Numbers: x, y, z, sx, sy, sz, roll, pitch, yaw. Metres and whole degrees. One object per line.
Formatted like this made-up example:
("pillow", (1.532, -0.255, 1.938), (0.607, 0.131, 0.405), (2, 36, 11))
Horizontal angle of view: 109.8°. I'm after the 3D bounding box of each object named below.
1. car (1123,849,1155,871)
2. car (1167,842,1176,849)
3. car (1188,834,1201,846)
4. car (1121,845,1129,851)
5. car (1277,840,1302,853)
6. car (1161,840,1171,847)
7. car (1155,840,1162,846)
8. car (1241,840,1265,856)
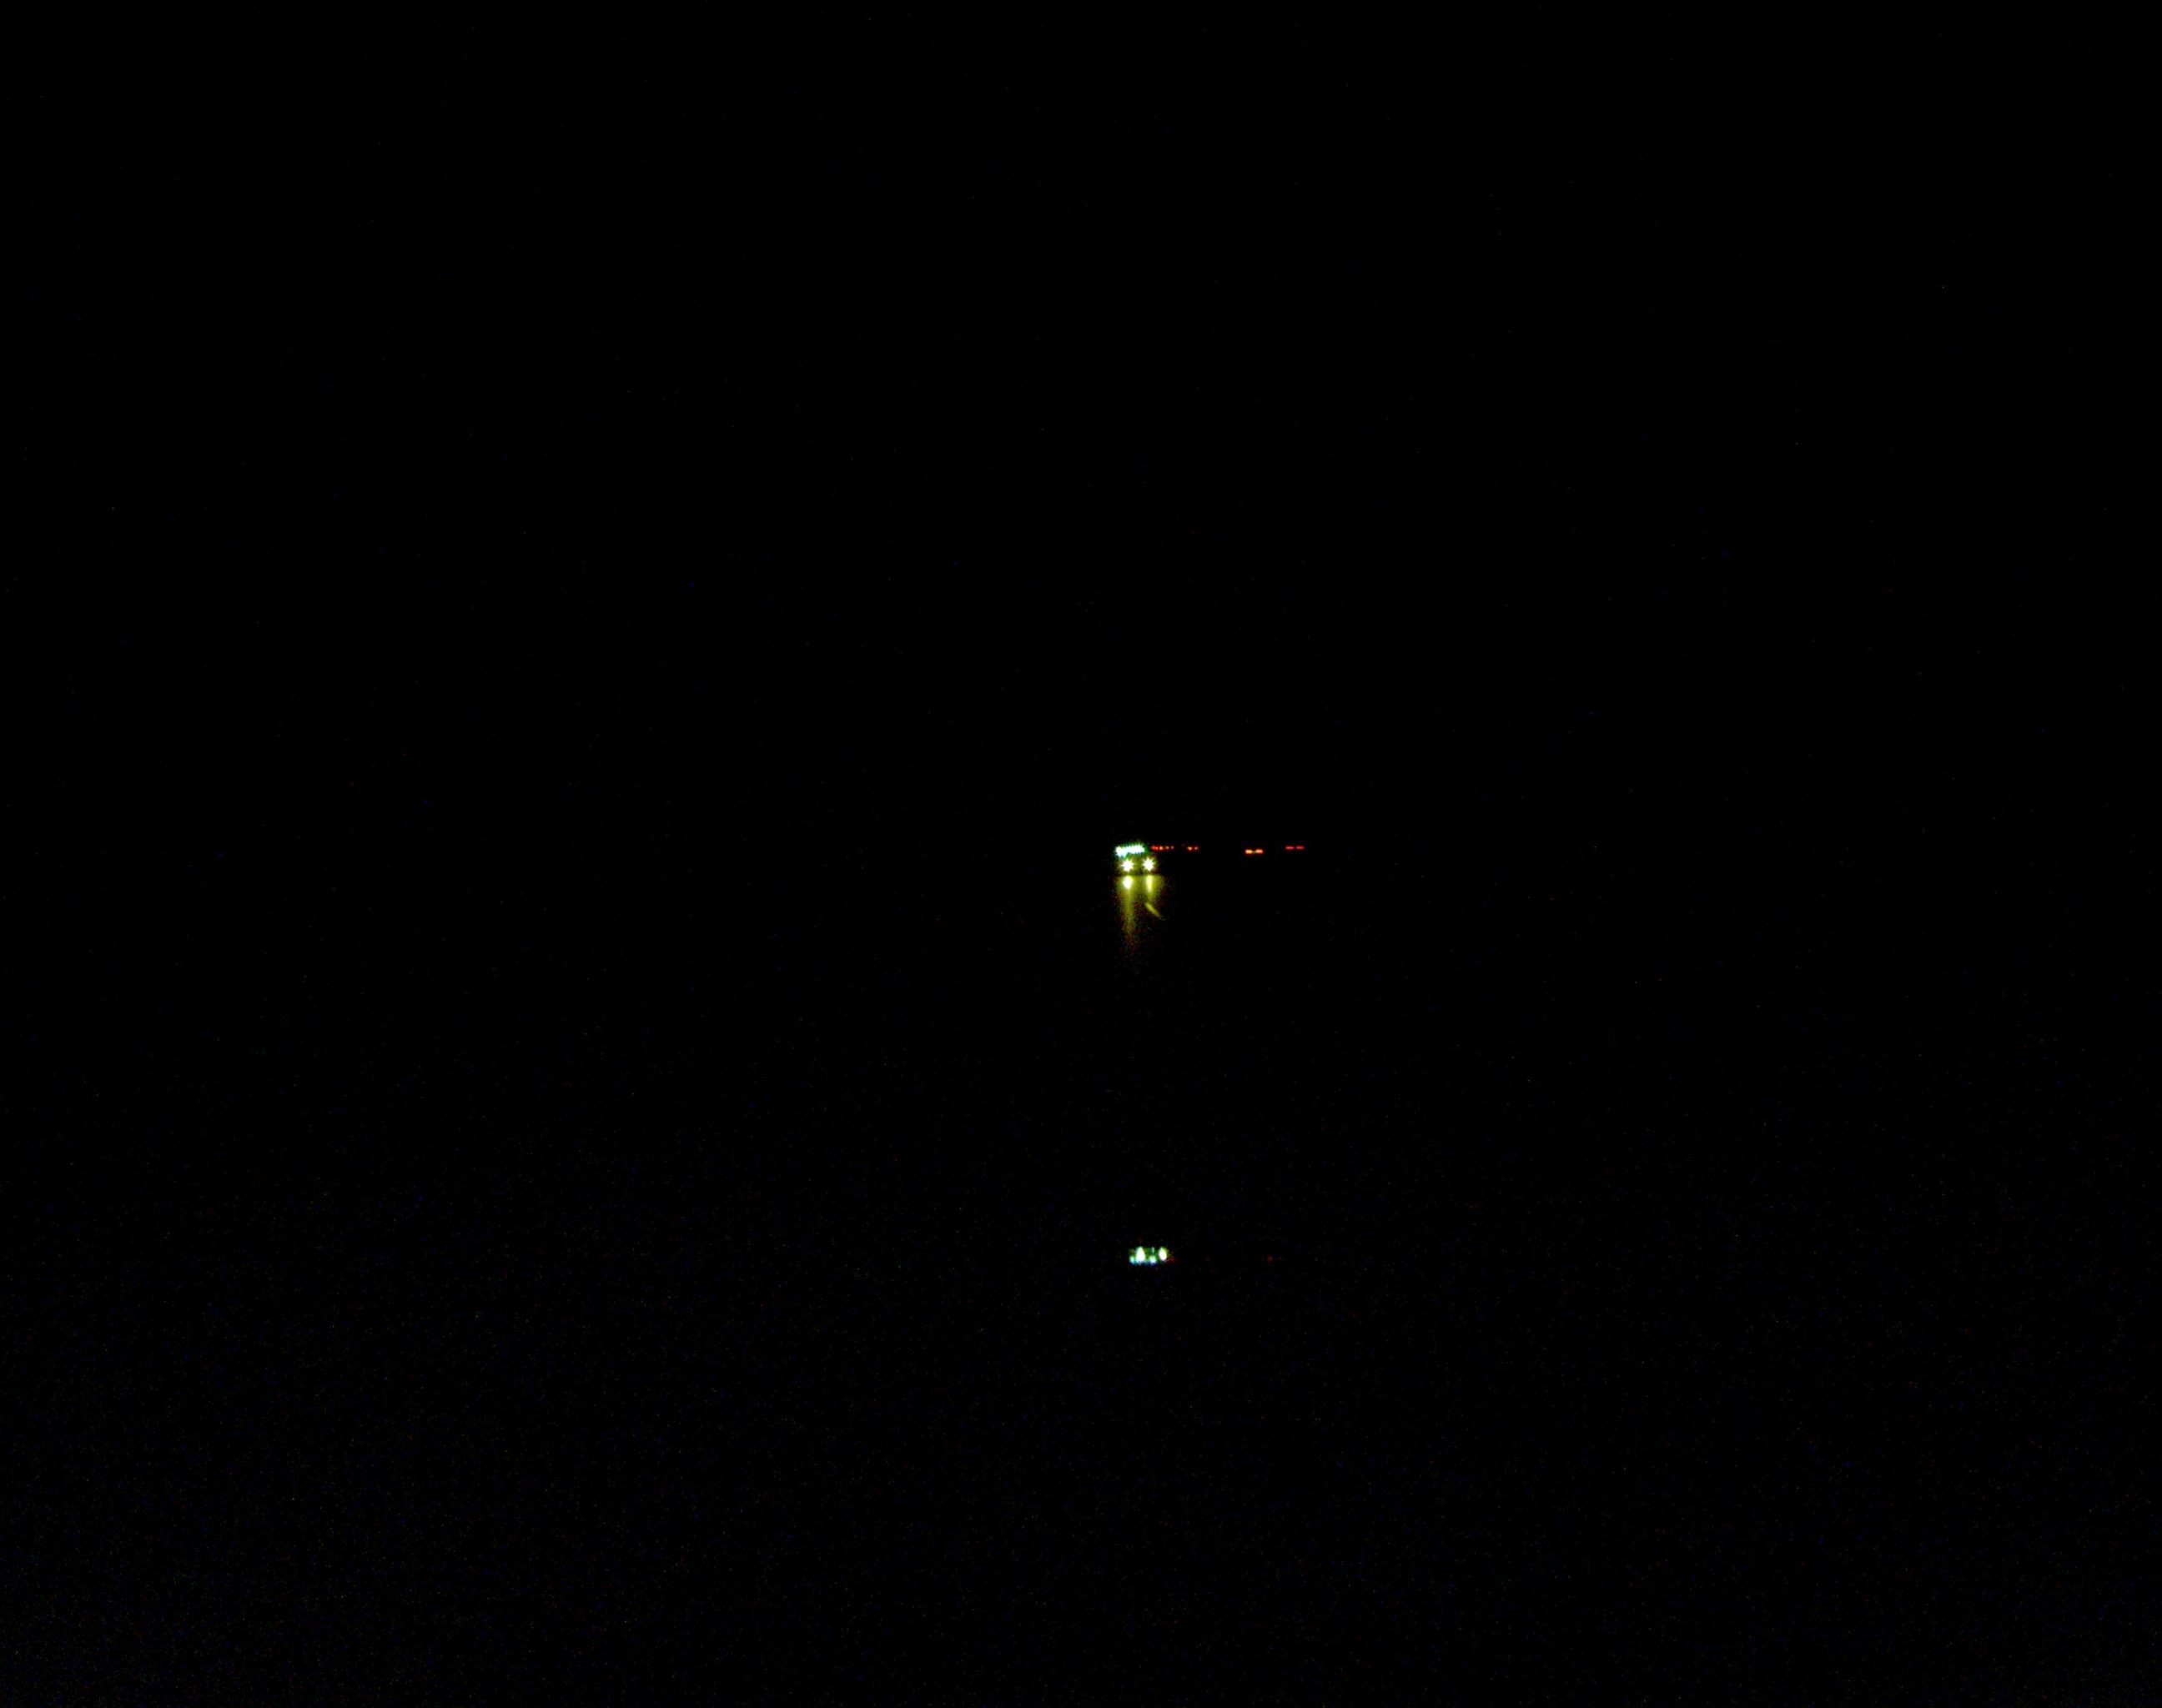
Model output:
("car", (4.185, 0.448, 55.442), (1.998, 1.422, 4.330), (-3, 0, 1))
("car", (23.476, -2.299, 196.645), (1.998, 1.724, 4.659), (-3, 1, 2))
("car", (30.089, -3.738, 202.375), (2.464, 2.919, 8.333), (-3, 1, 2))
("car", (13.157, -1.825, 227.849), (1.998, 1.724, 4.225), (-3, 0, 2))
("car", (24.767, -0.928, 90.388), (1.778, 1.421, 4.659), (-3, 1, 2))
("car", (24.646, -2.985, 219.557), (2.151, 1.874, 5.423), (-3, 1, -1))
("car", (25.690, -3.617, 251.894), (1.998, 1.724, 4.659), (-3, 1, 3))
("car", (21.370, -0.772, 94.570), (2.109, 1.874, 4.659), (-3, 1, 2))
